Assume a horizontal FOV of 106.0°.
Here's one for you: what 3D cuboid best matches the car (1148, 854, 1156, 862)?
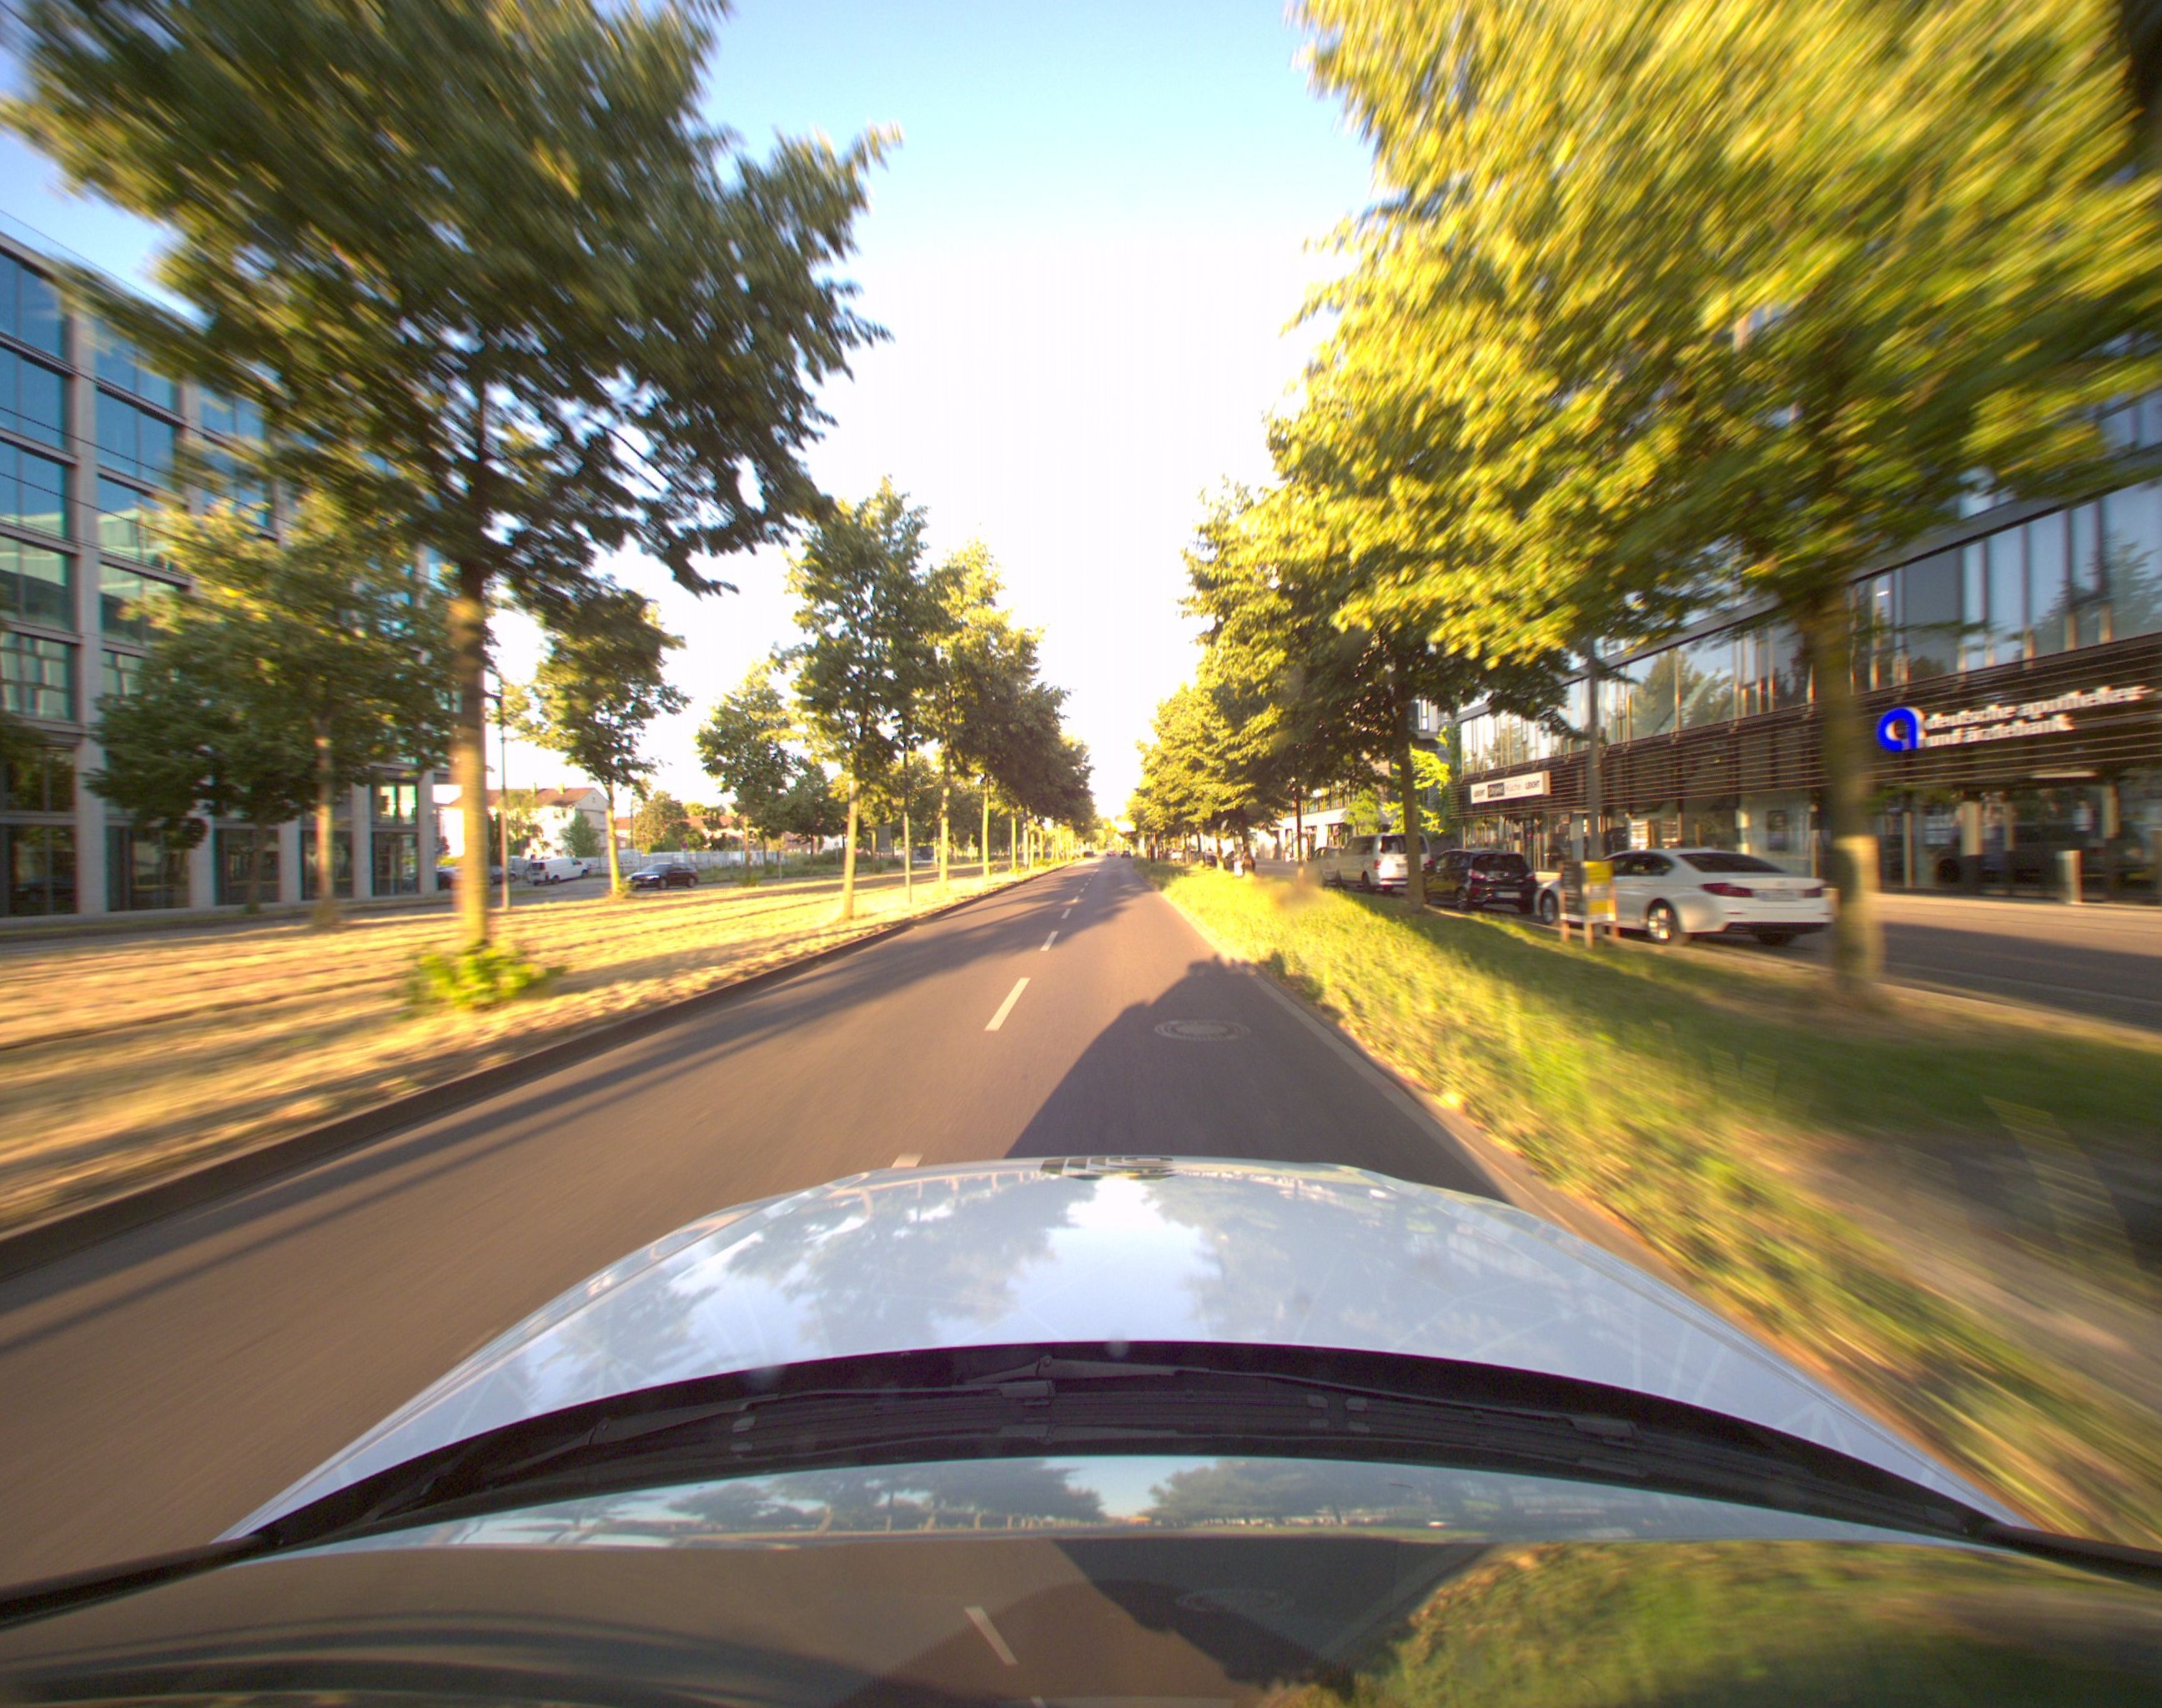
[{"bbox_3d":[14.736,0.818,169.653,1.569,1.472,3.884,-1,0,3],"label":"car"}]

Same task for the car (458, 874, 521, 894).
[{"bbox_3d":[-47.694,2.389,65.791,1.986,1.418,4.002,-1,0,2],"label":"car"}]

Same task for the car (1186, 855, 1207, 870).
[{"bbox_3d":[12.295,0.866,86.676,1.703,1.515,3.760,1,0,1],"label":"car"}]

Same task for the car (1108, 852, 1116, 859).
[{"bbox_3d":[7.593,0.395,198.735,1.905,1.486,4.001,-1,0,1],"label":"car"}]

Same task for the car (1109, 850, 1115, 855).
[{"bbox_3d":[9.807,-0.599,258.495,1.905,1.486,4.001,-1,0,1],"label":"car"}]

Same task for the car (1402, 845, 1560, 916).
[{"bbox_3d":[9.508,0.564,19.787,1.852,1.496,4.293,1,0,2],"label":"car"}]

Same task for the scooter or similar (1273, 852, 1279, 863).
[{"bbox_3d":[22.209,0.441,92.714,0.470,1.211,1.230,-1,0,3],"label":"scooter or similar"}]

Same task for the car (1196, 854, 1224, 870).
[{"bbox_3d":[12.071,0.746,76.686,1.846,1.367,4.834,-1,0,0],"label":"car"}]

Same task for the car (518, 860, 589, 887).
[{"bbox_3d":[-42.181,1.525,65.263,2.197,2.013,5.087,-1,0,2],"label":"car"}]

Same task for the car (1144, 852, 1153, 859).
[{"bbox_3d":[15.853,0.405,191.634,1.751,1.466,4.157,-1,0,0],"label":"car"}]

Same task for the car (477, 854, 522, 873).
[{"bbox_3d":[-63.529,1.039,89.078,1.791,1.982,4.313,-1,0,1],"label":"car"}]

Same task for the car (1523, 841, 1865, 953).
[{"bbox_3d":[9.607,0.578,13.466,1.911,1.496,5.041,0,0,0],"label":"car"}]

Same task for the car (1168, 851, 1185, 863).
[{"bbox_3d":[13.074,0.409,111.550,1.985,1.642,4.882,-1,0,3],"label":"car"}]

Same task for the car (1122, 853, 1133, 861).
[{"bbox_3d":[8.980,0.506,157.530,1.905,1.486,4.001,-1,0,1],"label":"car"}]

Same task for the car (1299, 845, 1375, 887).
[{"bbox_3d":[10.074,0.446,32.377,1.832,1.570,4.062,0,0,1],"label":"car"}]

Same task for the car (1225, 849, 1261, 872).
[{"bbox_3d":[11.014,0.427,55.737,1.773,1.494,4.002,2,0,2],"label":"car"}]

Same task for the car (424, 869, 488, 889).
[{"bbox_3d":[-50.802,2.013,66.280,1.986,1.510,4.002,-1,0,2],"label":"car"}]

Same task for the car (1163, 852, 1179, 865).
[{"bbox_3d":[13.670,0.658,124.055,1.987,1.852,4.664,-1,0,0],"label":"car"}]

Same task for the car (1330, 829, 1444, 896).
[{"bbox_3d":[9.830,0.251,26.596,1.979,1.989,4.934,0,0,1],"label":"car"}]

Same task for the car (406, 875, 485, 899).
[{"bbox_3d":[-43.446,2.232,55.688,3.968,1.446,1.897,-1,0,4],"label":"car"}]

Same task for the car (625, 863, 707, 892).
[{"bbox_3d":[-22.386,1.227,44.165,1.922,1.422,4.393,-1,0,4],"label":"car"}]
